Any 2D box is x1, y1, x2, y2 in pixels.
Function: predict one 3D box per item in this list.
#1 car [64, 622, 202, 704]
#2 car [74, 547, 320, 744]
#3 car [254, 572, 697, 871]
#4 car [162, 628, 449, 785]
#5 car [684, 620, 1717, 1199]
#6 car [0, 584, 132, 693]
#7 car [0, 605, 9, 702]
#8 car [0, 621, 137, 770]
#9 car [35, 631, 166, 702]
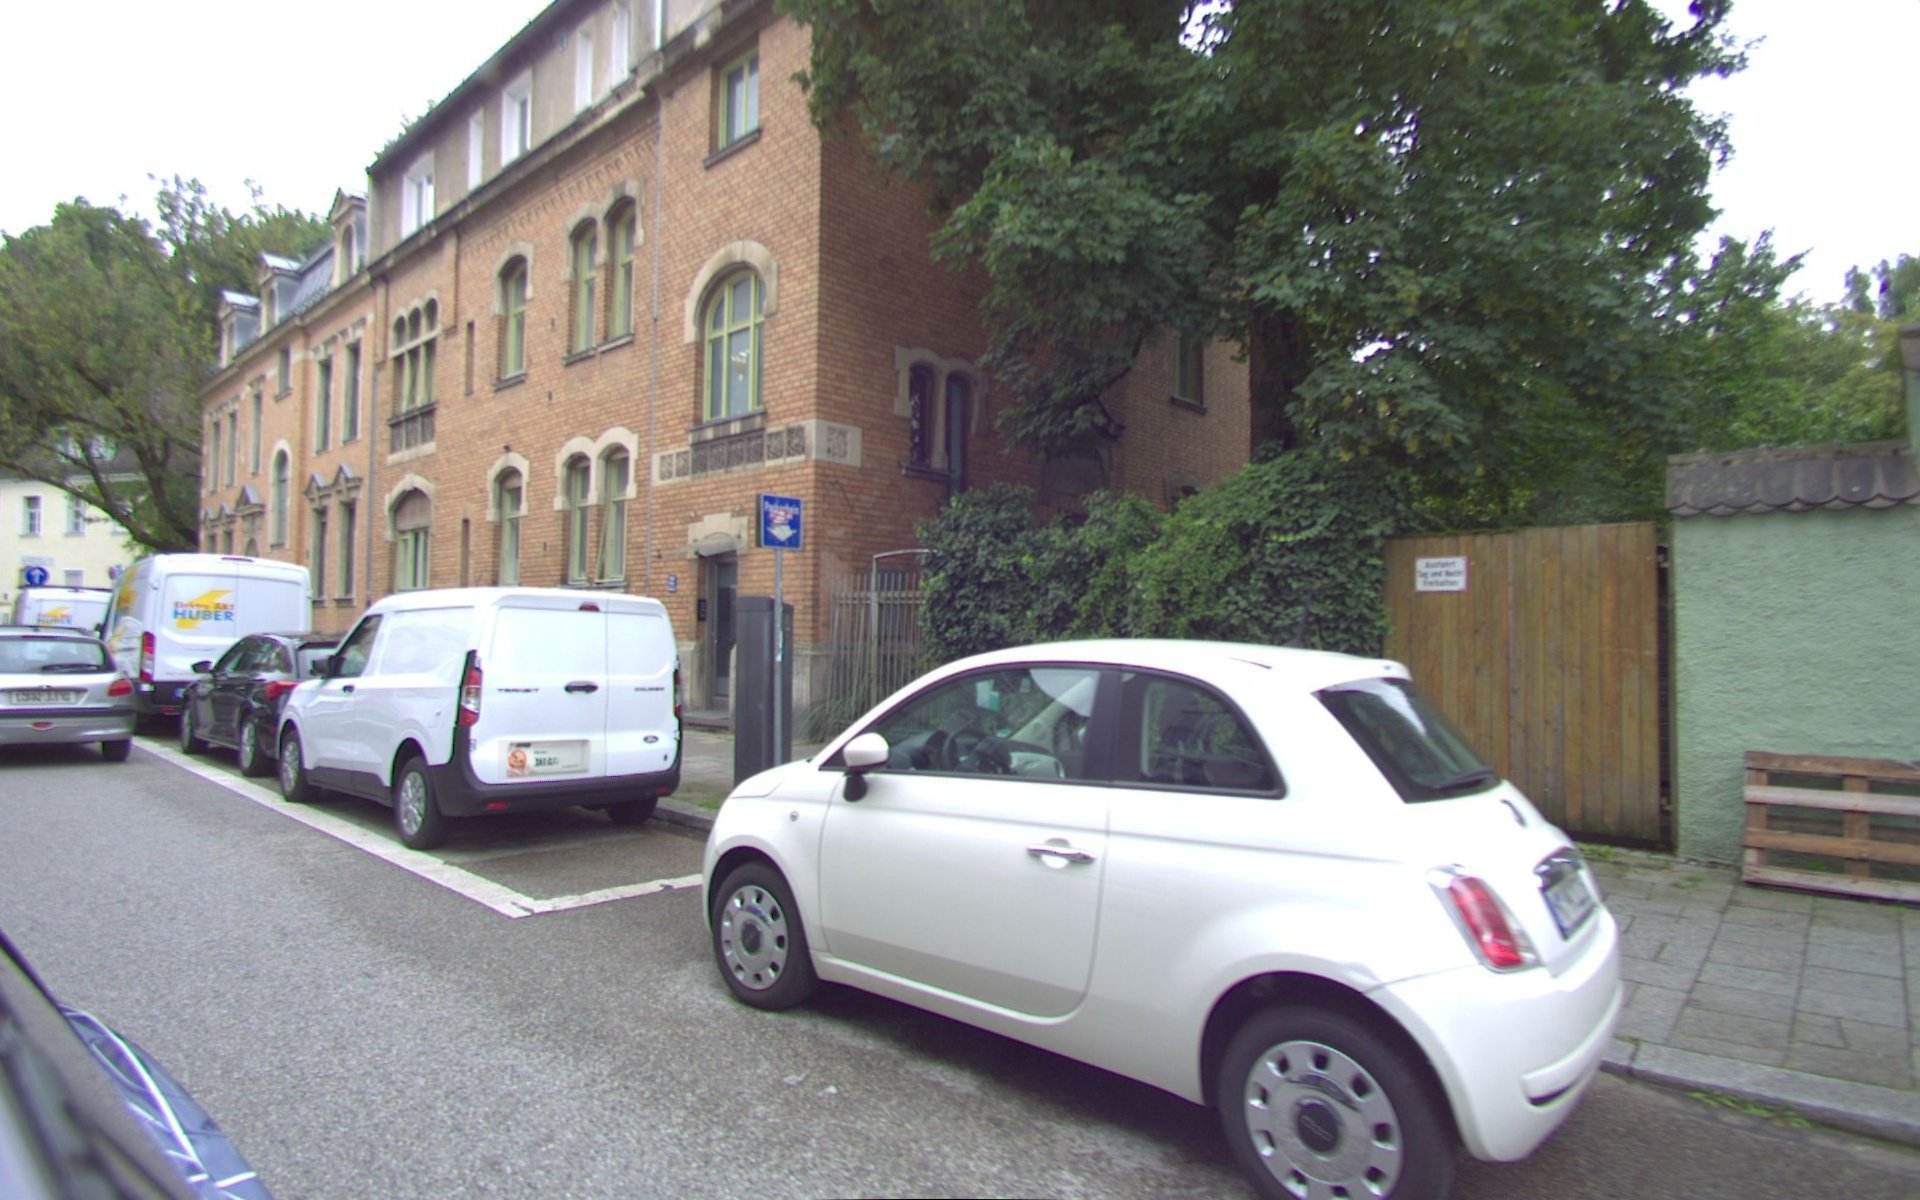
[{"bbox_3d":[-16.111,1.199,19.669,3.540,1.454,1.506,-2,-5,42],"label":"car"},{"bbox_3d":[-11.685,0.674,15.350,5.222,2.497,1.960,-1,-4,43],"label":"car"},{"bbox_3d":[-4.067,0.826,8.181,4.143,1.817,1.672,-2,-4,41],"label":"car"},{"bbox_3d":[-7.511,1.080,11.444,4.144,1.454,1.671,-2,-5,42],"label":"car"},{"bbox_3d":[0.602,0.848,3.654,3.312,1.478,1.458,-1,-4,41],"label":"car"},{"bbox_3d":[-23.449,1.049,26.445,4.421,2.560,2.090,-2,-6,43],"label":"car"},{"bbox_3d":[-20.272,1.005,19.742,4.565,1.817,1.755,-1,-3,38],"label":"car"},{"bbox_3d":[-10.449,0.955,11.208,3.613,1.422,1.563,-1,-3,43],"label":"car"},{"bbox_3d":[-19.259,1.457,22.634,3.983,1.454,1.671,-2,-5,42],"label":"car"}]
